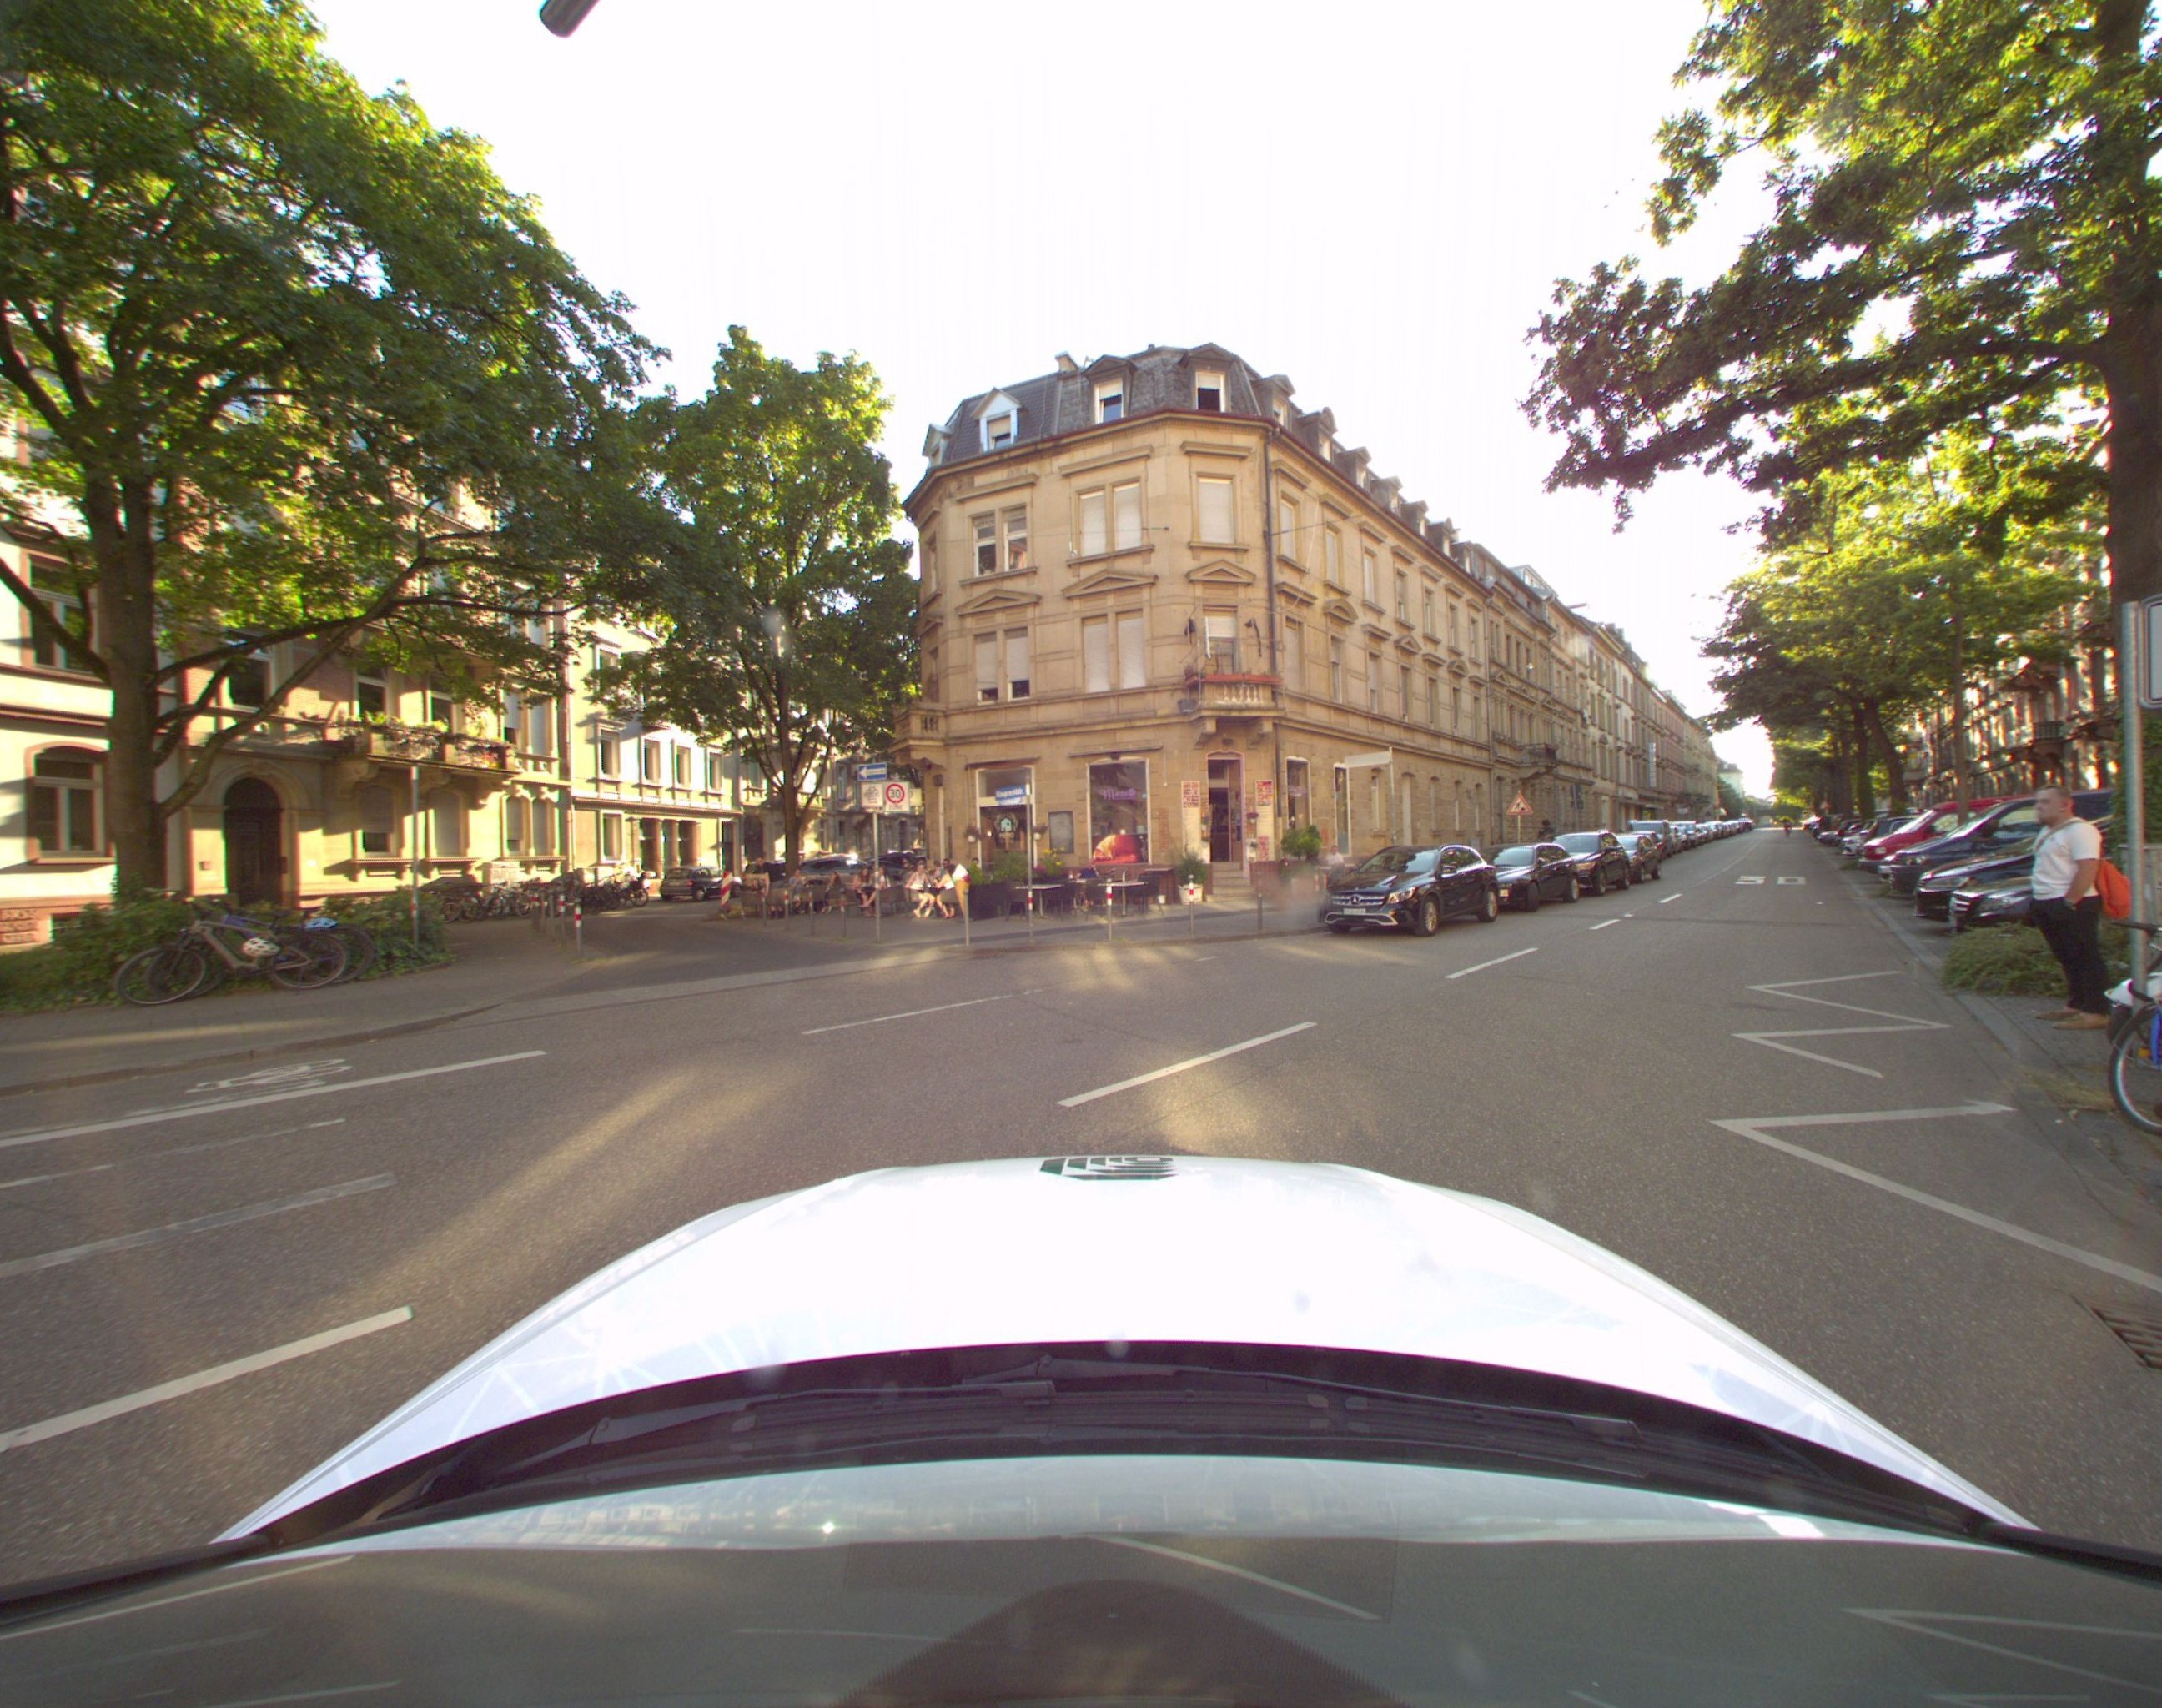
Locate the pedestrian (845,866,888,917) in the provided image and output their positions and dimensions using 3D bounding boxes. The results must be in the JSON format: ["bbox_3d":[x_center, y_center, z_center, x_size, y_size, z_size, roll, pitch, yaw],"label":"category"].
[{"bbox_3d":[-5.481,0.943,20.805,0.697,1.248,0.754,-2,1,40],"label":"pedestrian"}]

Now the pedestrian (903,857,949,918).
[{"bbox_3d":[-3.717,0.801,19.592,0.747,1.411,0.732,-2,0,30],"label":"pedestrian"}]

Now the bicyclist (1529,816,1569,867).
[{"bbox_3d":[17.190,-0.454,29.908,0.986,1.790,1.215,-2,0,43],"label":"bicyclist"}]

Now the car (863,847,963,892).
[{"bbox_3d":[-7.040,0.632,34.528,3.986,1.684,1.994,-2,0,-9],"label":"car"}]

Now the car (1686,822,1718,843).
[{"bbox_3d":[48.866,-1.699,64.029,1.741,1.473,4.085,-3,0,40],"label":"car"}]

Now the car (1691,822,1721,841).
[{"bbox_3d":[52.029,-1.902,67.768,1.741,1.473,4.085,-3,0,40],"label":"car"}]

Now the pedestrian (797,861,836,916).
[{"bbox_3d":[-7.221,0.937,22.240,0.770,1.441,0.661,-3,-1,-36],"label":"pedestrian"}]

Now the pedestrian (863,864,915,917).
[{"bbox_3d":[-4.780,0.892,20.244,1.011,1.248,0.754,-2,1,39],"label":"pedestrian"}]

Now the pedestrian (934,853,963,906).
[{"bbox_3d":[-3.669,0.707,22.534,0.562,1.431,0.485,-2,1,31],"label":"pedestrian"}]

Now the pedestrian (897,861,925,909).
[{"bbox_3d":[-4.637,0.840,22.233,0.476,1.248,0.514,-2,1,40],"label":"pedestrian"}]

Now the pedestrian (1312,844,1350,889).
[{"bbox_3d":[6.934,0.349,22.589,0.718,1.214,0.761,-2,0,40],"label":"pedestrian"}]

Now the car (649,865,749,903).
[{"bbox_3d":[-15.587,1.187,33.418,1.912,1.376,3.760,-2,0,8],"label":"car"}]

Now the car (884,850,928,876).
[{"bbox_3d":[-12.387,0.625,57.822,1.797,1.684,3.760,-2,0,8],"label":"car"}]

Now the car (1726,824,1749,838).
[{"bbox_3d":[81.146,-2.846,100.661,1.974,1.486,4.025,-2,-2,41],"label":"car"}]

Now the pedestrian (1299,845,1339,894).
[{"bbox_3d":[6.308,0.407,21.592,0.718,1.259,0.761,-2,0,40],"label":"pedestrian"}]

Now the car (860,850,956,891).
[{"bbox_3d":[-7.894,0.725,37.086,3.999,1.684,1.987,-2,0,-19],"label":"car"}]

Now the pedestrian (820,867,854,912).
[{"bbox_3d":[-6.917,1.015,23.117,0.681,1.215,0.660,-3,-1,-38],"label":"pedestrian"}]

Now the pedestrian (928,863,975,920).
[{"bbox_3d":[-3.038,0.871,19.115,0.736,1.289,0.747,-2,0,32],"label":"pedestrian"}]

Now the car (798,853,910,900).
[{"bbox_3d":[-8.637,0.810,30.947,3.841,1.562,1.789,-2,0,-24],"label":"car"}]

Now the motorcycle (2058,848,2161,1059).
[{"bbox_3d":[7.178,0.556,4.664,1.879,1.234,0.690,-5,-2,42],"label":"motorcycle"}]

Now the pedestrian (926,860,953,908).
[{"bbox_3d":[-3.771,0.807,21.731,0.476,1.248,0.436,-2,1,40],"label":"pedestrian"}]

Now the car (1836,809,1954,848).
[{"bbox_3d":[40.438,-1.225,40.588,3.972,1.607,1.745,-5,-2,41],"label":"car"}]

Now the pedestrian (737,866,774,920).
[{"bbox_3d":[-8.962,1.066,22.409,0.770,1.412,0.661,-3,-1,-34],"label":"pedestrian"}]

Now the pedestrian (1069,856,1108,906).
[{"bbox_3d":[0.204,0.674,20.711,0.719,1.214,0.761,-2,0,23],"label":"pedestrian"}]

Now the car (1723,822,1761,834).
[{"bbox_3d":[88.019,-3.483,108.451,3.995,1.486,1.989,-1,-1,-16],"label":"car"}]

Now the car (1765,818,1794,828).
[{"bbox_3d":[135.840,-6.017,158.434,1.760,1.859,3.953,-3,1,-40],"label":"car"}]

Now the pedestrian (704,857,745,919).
[{"bbox_3d":[-9.997,0.958,22.842,0.659,1.669,0.772,-4,-1,40],"label":"pedestrian"}]

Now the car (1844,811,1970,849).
[{"bbox_3d":[38.989,-1.091,38.585,3.972,1.467,1.745,-5,-2,41],"label":"car"}]

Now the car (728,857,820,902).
[{"bbox_3d":[-12.893,1.023,34.455,1.983,1.684,4.007,-2,0,6],"label":"car"}]

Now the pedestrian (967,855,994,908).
[{"bbox_3d":[-2.640,0.712,21.368,0.476,1.367,0.436,-2,1,33],"label":"pedestrian"}]

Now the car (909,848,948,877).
[{"bbox_3d":[-11.793,0.633,63.090,1.797,2.085,3.760,-2,0,8],"label":"car"}]

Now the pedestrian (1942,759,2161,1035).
[{"bbox_3d":[7.415,0.293,6.165,1.103,1.898,0.848,-2,0,41],"label":"pedestrian"}]

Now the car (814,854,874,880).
[{"bbox_3d":[-13.807,0.744,47.631,1.912,1.376,3.760,-2,0,8],"label":"car"}]

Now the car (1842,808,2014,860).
[{"bbox_3d":[32.089,-0.741,31.084,4.302,1.556,1.862,-6,-1,41],"label":"car"}]

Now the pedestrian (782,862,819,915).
[{"bbox_3d":[-7.938,0.970,23.026,0.770,1.441,0.661,-3,-1,-36],"label":"pedestrian"}]

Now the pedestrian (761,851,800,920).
[{"bbox_3d":[-7.980,0.825,21.658,0.770,1.770,0.566,-3,-1,-36],"label":"pedestrian"}]

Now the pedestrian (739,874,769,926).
[{"bbox_3d":[-8.711,1.220,21.673,0.575,1.320,0.499,-3,1,-38],"label":"pedestrian"}]

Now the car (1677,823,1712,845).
[{"bbox_3d":[44.791,-1.485,59.442,1.741,1.473,4.085,-3,0,40],"label":"car"}]
